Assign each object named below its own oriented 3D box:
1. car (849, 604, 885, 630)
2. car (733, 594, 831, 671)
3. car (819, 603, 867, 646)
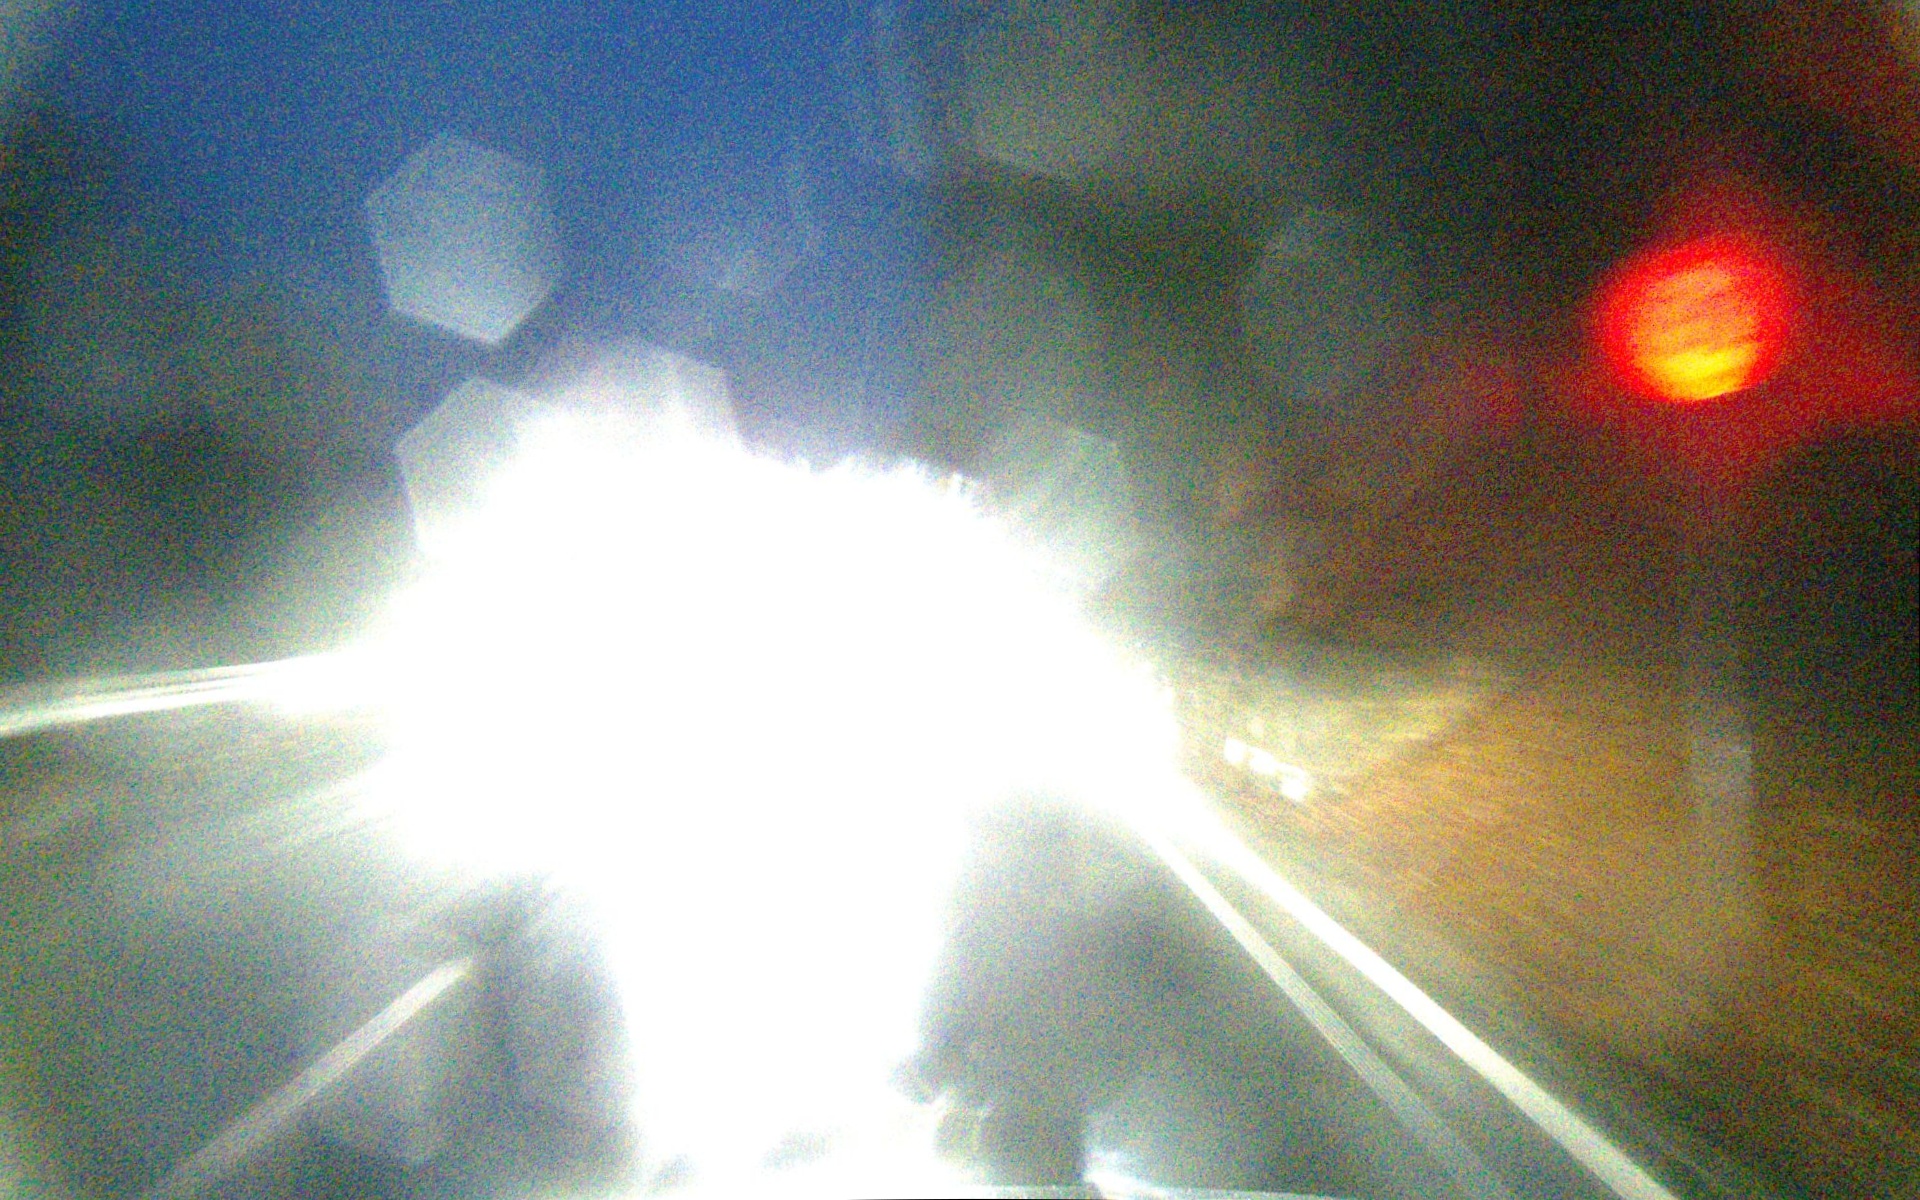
[{"bbox_3d":[-5.621,1.038,100.443,1.953,1.523,4.355,1,0,-1],"label":"car"},{"bbox_3d":[-3.928,0.682,37.107,1.793,1.582,4.440,1,0,-1],"label":"car"},{"bbox_3d":[-4.439,0.916,63.196,1.681,1.581,3.998,1,0,-2],"label":"car"}]
